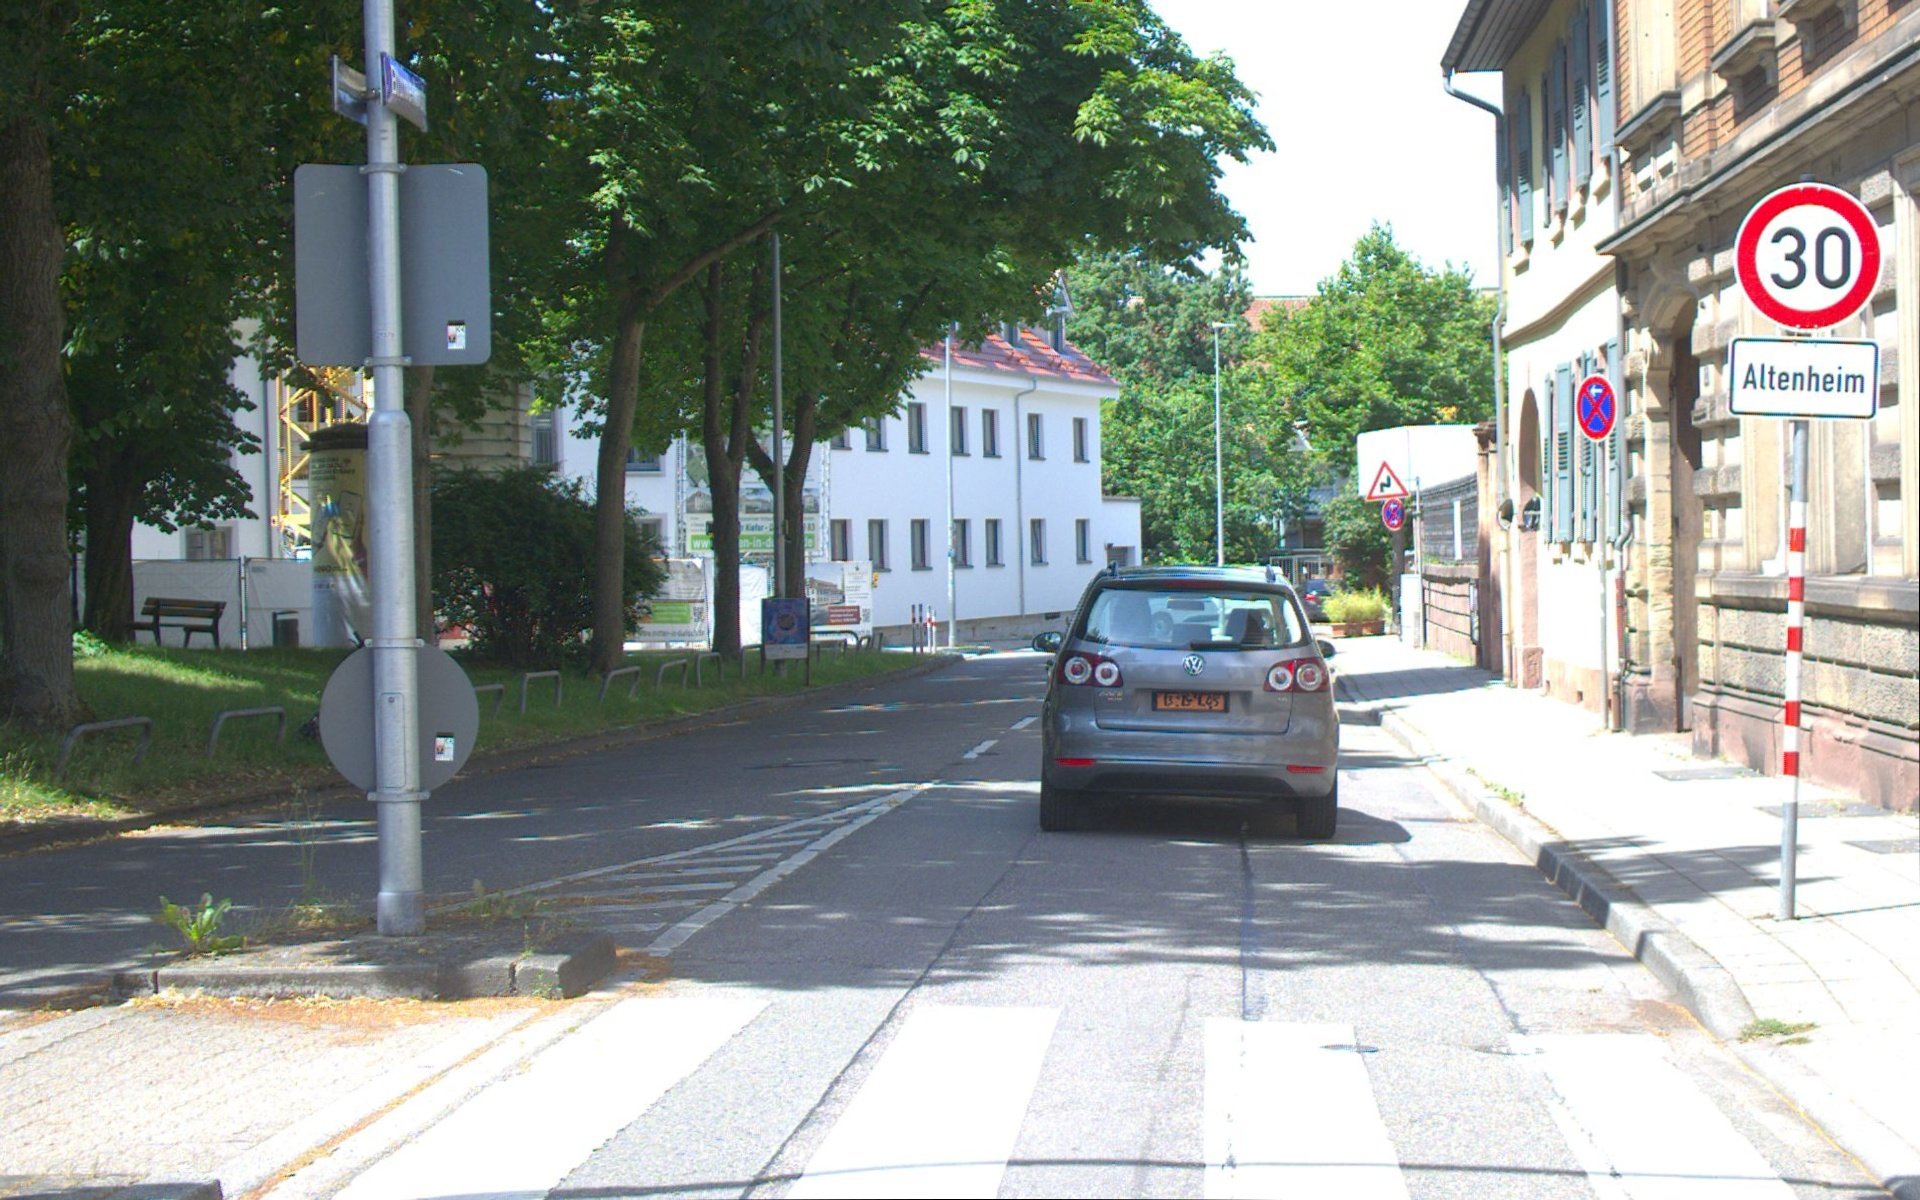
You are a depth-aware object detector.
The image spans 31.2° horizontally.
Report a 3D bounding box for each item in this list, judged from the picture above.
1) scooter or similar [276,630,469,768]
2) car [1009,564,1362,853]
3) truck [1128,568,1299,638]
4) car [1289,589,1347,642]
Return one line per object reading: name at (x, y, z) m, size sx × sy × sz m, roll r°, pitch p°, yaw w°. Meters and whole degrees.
scooter or similar at (-5.104, 0.848, 29.982) m, size 1.272 × 0.988 × 1.451 m, roll 8°, pitch 0°, yaw 2°
car at (1.413, 0.591, 21.341) m, size 1.904 × 1.528 × 4.243 m, roll 3°, pitch 1°, yaw 4°
truck at (7.386, 0.087, 100.495) m, size 4.793 × 2.007 × 2.146 m, roll 0°, pitch 0°, yaw -2°
car at (10.905, 0.465, 104.867) m, size 1.647 × 1.568 × 3.638 m, roll 1°, pitch 0°, yaw 5°
